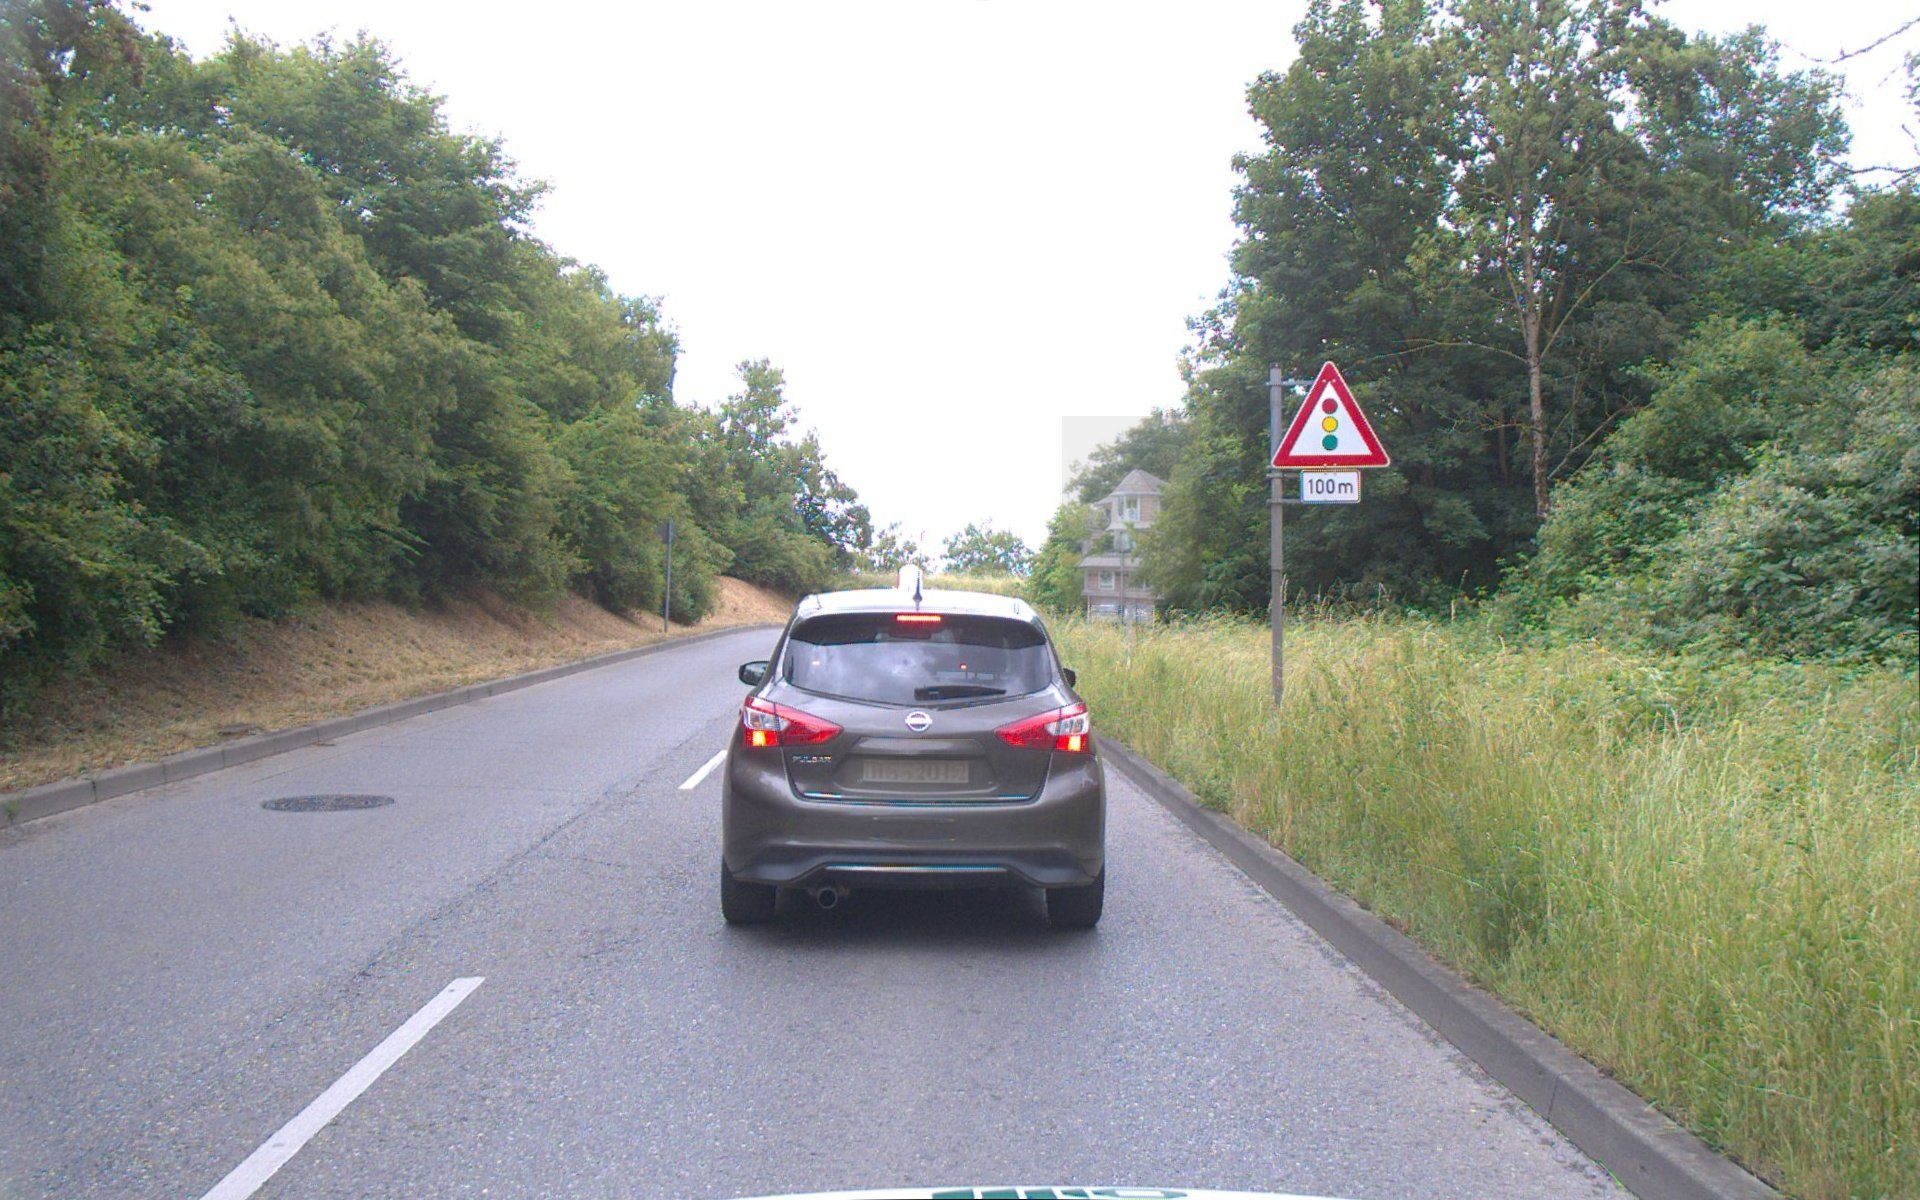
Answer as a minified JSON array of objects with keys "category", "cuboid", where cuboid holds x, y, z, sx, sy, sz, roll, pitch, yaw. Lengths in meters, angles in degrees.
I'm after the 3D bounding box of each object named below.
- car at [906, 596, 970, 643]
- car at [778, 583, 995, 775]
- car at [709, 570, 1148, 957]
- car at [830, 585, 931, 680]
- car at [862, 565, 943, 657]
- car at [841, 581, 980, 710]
[{"category":"car","cuboid":[-0.742,0.648,57.624,1.699,1.553,3.644,0,0,8]},{"category":"car","cuboid":[-0.635,0.644,15.482,1.793,1.583,3.624,0,0,-1]},{"category":"car","cuboid":[-0.211,0.671,8.570,1.794,1.583,3.497,1,0,-3]},{"category":"car","cuboid":[-1.366,0.538,29.646,1.700,1.583,3.543,0,0,-1]},{"category":"car","cuboid":[-1.244,0.224,36.920,1.700,1.968,3.543,0,0,-1]},{"category":"car","cuboid":[-0.634,0.549,22.045,1.700,1.583,3.543,0,0,-1]}]
